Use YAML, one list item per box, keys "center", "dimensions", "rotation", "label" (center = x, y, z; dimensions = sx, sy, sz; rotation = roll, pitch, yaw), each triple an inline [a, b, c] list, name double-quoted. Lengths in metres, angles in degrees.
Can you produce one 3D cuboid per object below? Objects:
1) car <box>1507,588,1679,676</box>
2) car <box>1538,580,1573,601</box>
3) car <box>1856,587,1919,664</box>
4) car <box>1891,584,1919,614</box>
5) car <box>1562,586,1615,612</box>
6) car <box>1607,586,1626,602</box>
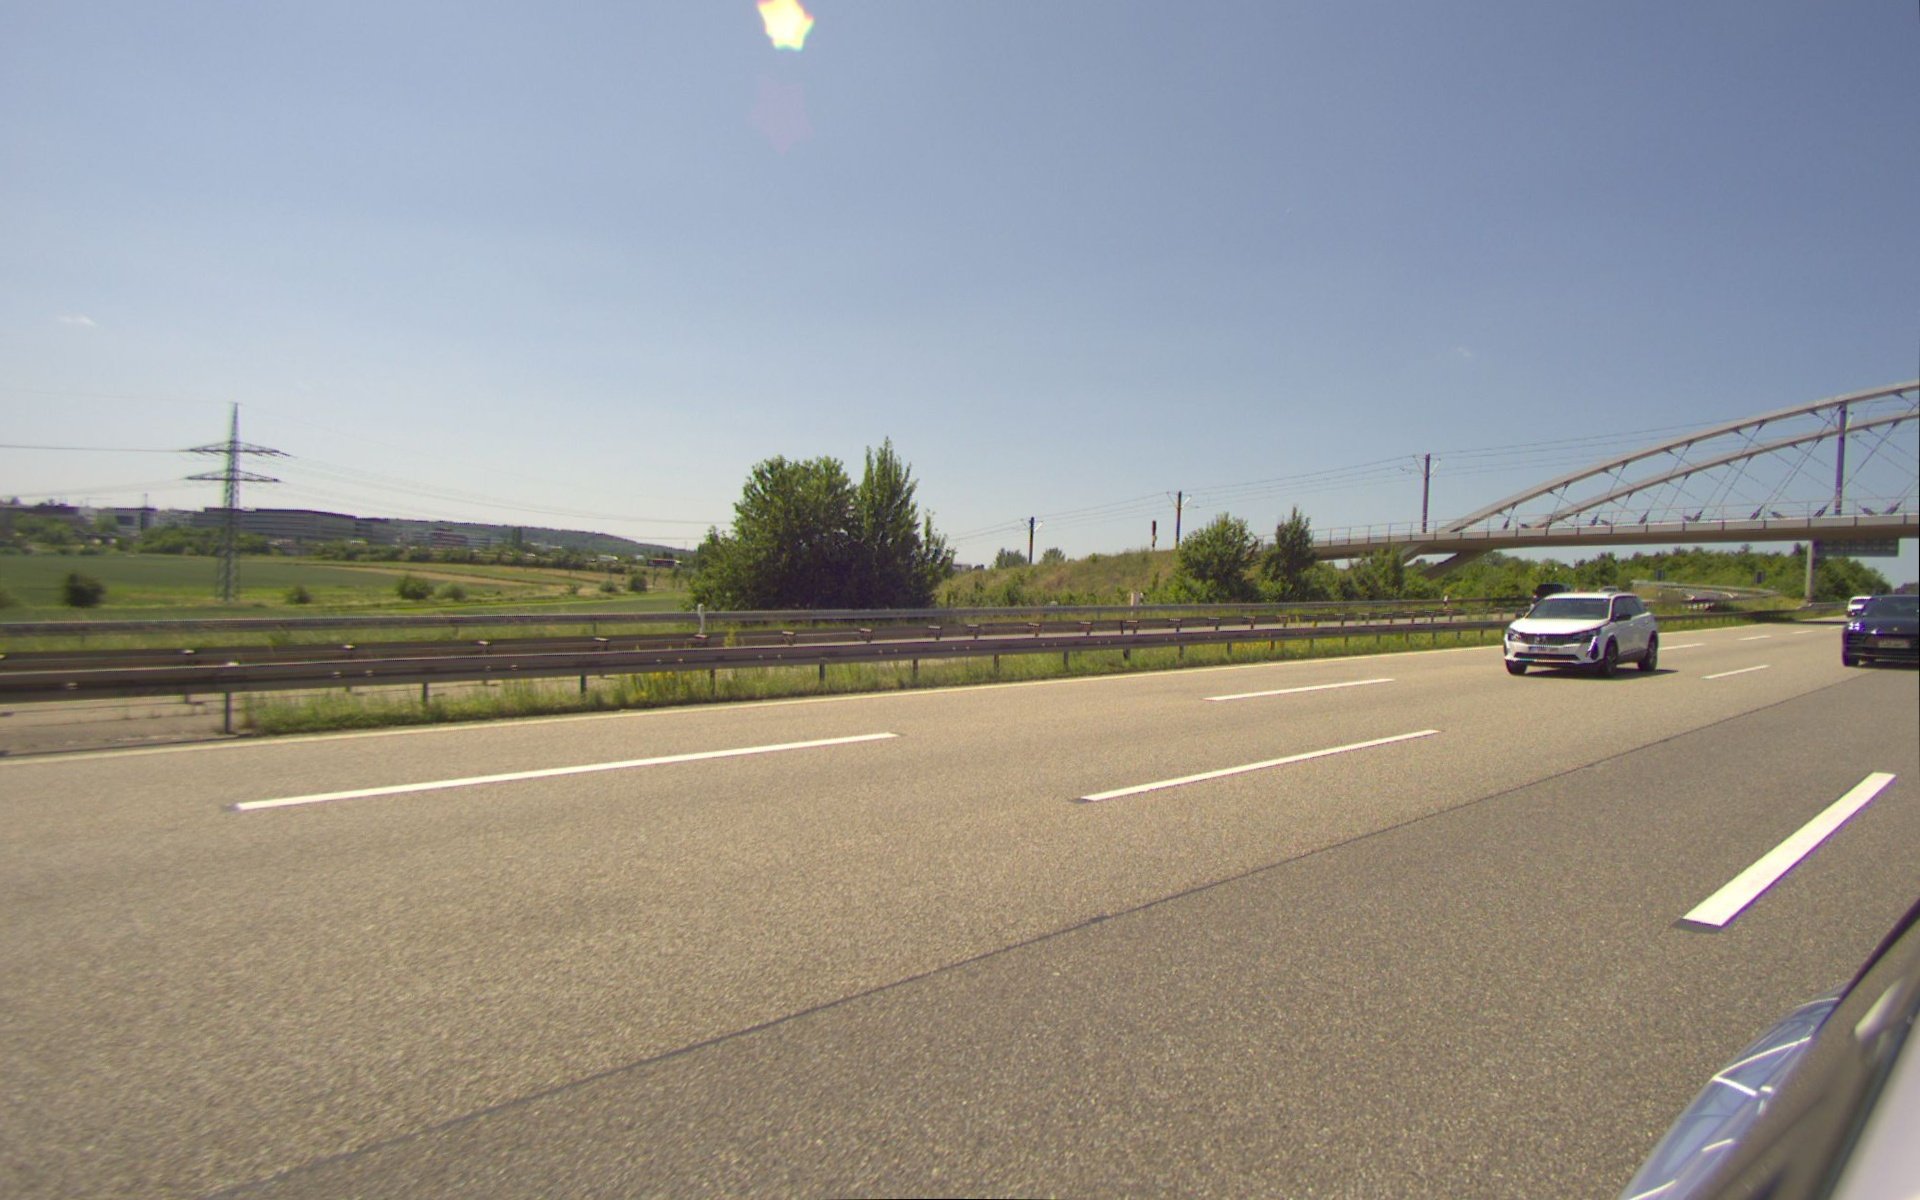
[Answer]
- center: [12.969, 0.562, 20.615]
  dimensions: [4.539, 1.611, 1.746]
  rotation: [-1, 0, -41]
  label: "car"
- center: [46.352, -0.769, 78.683]
  dimensions: [1.697, 1.595, 4.068]
  rotation: [0, 0, 40]
  label: "car"
- center: [21.711, 0.525, 22.798]
  dimensions: [4.063, 1.615, 1.928]
  rotation: [-1, 0, -43]
  label: "car"
- center: [64.105, -0.091, 68.336]
  dimensions: [1.803, 1.943, 4.230]
  rotation: [0, 0, 42]
  label: "car"
- center: [40.405, -0.068, 65.024]
  dimensions: [4.063, 1.615, 1.928]
  rotation: [-1, 0, -44]
  label: "car"
- center: [68.317, -0.631, 105.325]
  dimensions: [1.693, 1.595, 4.079]
  rotation: [0, 0, 33]
  label: "car"
